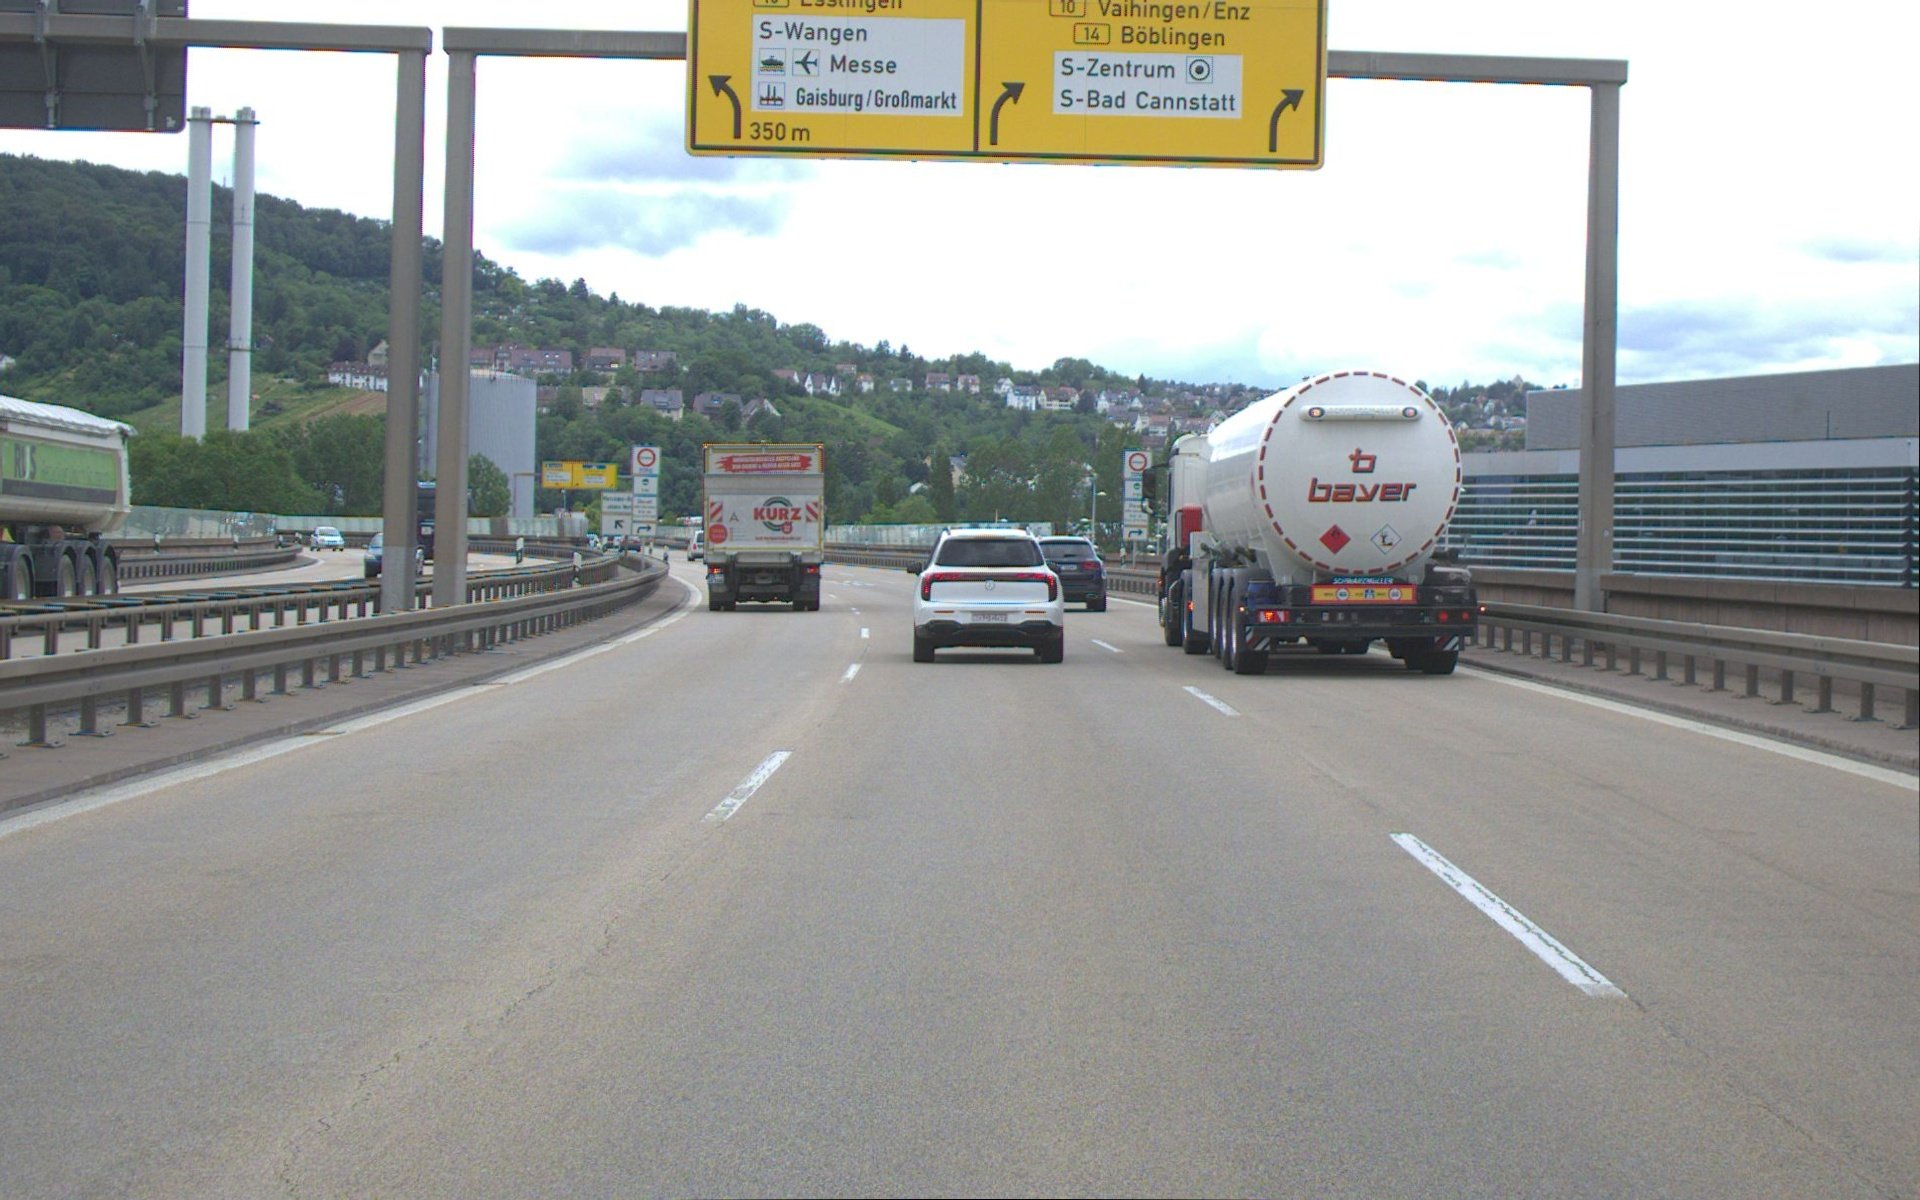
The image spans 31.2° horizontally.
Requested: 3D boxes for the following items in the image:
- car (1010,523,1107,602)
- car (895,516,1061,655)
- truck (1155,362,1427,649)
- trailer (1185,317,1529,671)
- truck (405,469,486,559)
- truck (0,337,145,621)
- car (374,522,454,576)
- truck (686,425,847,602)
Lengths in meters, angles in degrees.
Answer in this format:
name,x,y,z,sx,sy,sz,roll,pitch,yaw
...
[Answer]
name,x,y,z,sx,sy,sz,roll,pitch,yaw
car,2.126,-0.823,75.187,1.993,1.669,4.408,0,0,0
car,0.225,-0.191,43.825,1.993,1.669,4.408,0,0,0
truck,4.408,-1.236,47.056,3.014,3.644,6.273,0,0,-1
trailer,4.536,-1.183,41.085,3.057,3.777,8.304,0,1,0
truck,-22.761,-3.737,152.569,2.810,3.796,12.022,0,1,-5
truck,-14.321,-1.642,48.299,3.057,3.763,12.519,0,1,-1
car,-17.253,-1.601,108.818,1.993,1.669,4.408,0,0,-2
truck,-4.184,-1.856,76.002,3.057,3.678,8.304,0,1,0
